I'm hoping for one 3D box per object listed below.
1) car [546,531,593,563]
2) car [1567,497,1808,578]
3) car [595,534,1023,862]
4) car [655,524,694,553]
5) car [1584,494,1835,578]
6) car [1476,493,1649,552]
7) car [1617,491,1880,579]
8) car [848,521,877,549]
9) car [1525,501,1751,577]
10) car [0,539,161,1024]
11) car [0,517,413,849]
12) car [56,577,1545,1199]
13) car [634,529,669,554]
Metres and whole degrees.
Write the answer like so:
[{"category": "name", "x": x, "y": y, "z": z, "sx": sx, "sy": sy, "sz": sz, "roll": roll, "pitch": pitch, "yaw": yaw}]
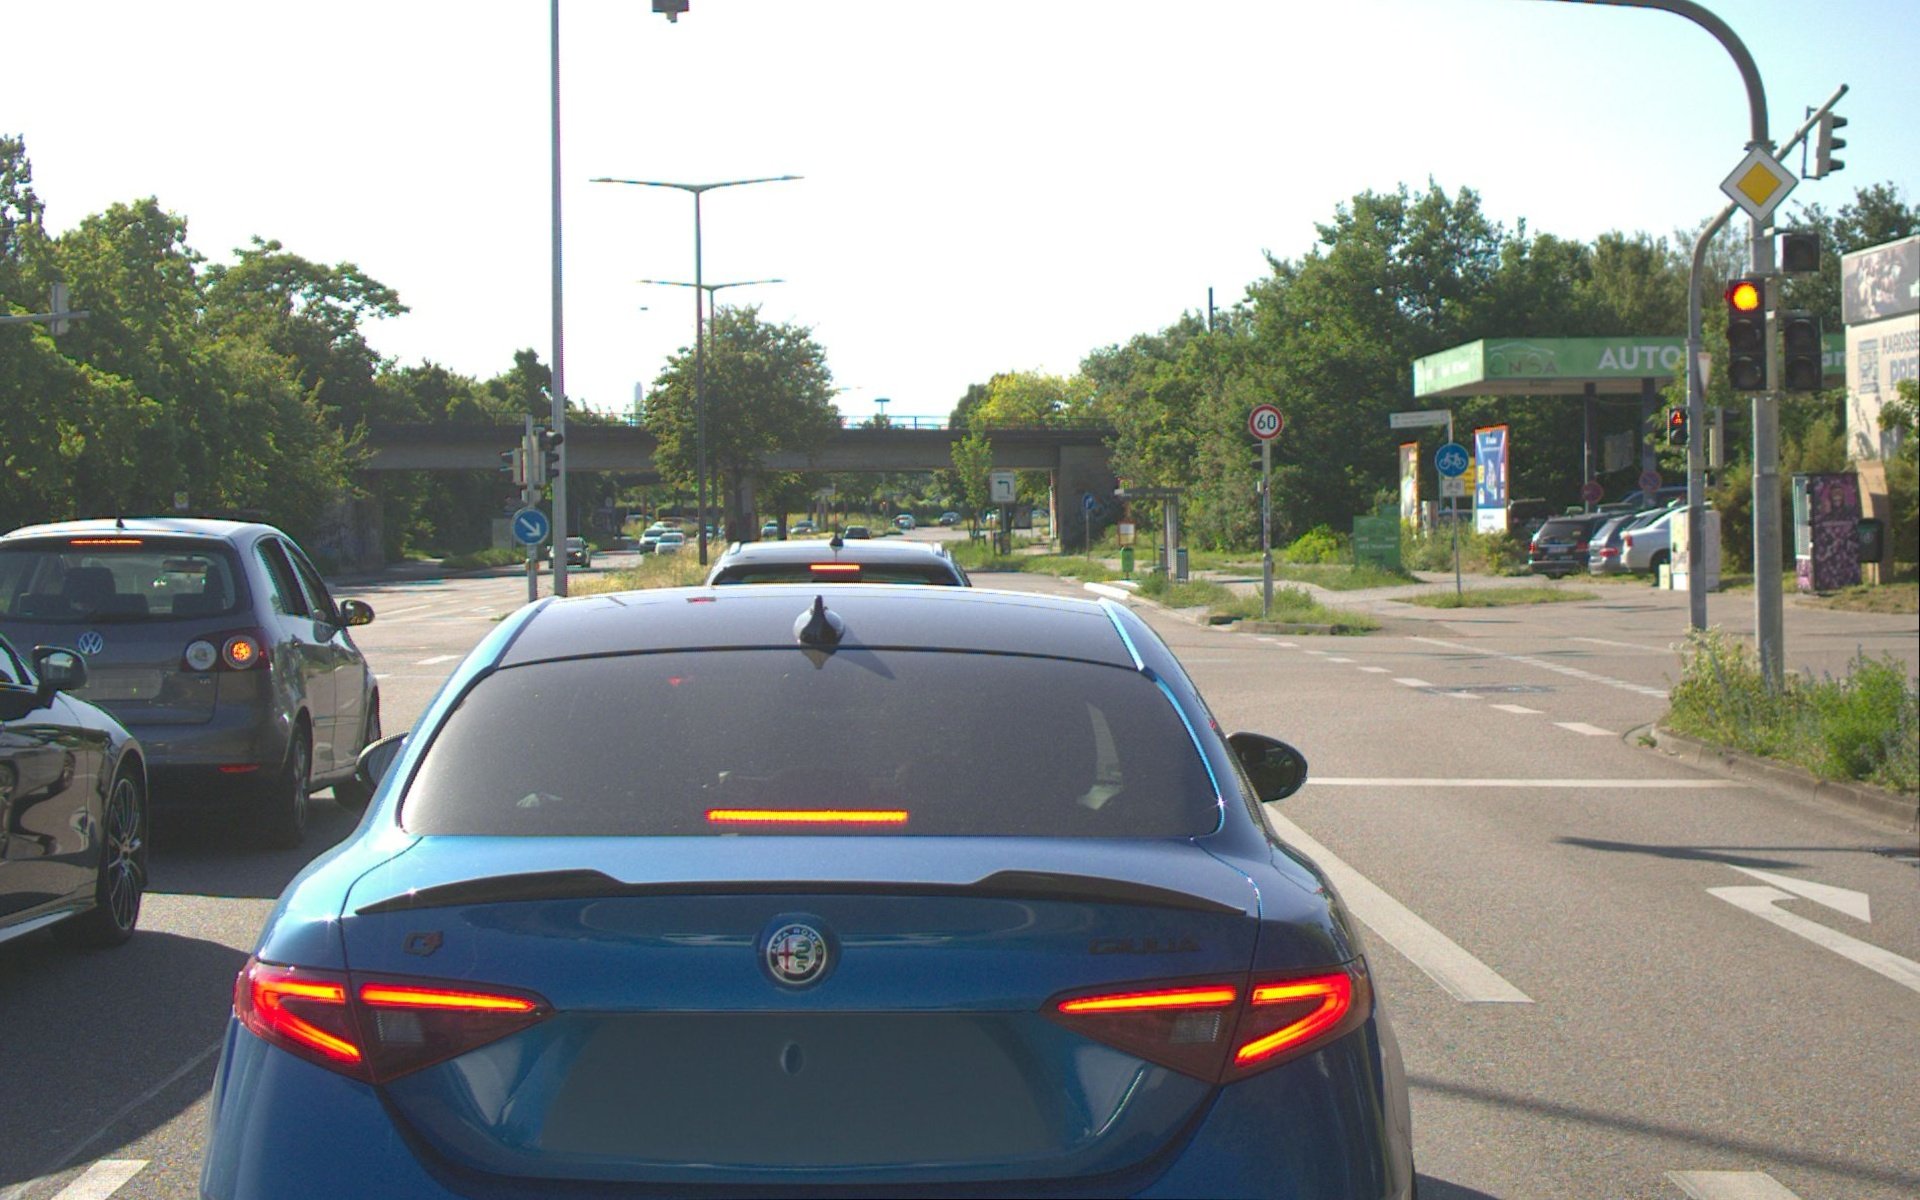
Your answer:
[{"category": "car", "x": -18.902, "y": -2.573, "z": 166.644, "sx": 1.759, "sy": 1.485, "sz": 4.478, "roll": -2, "pitch": 1, "yaw": 0}, {"category": "car", "x": 14.807, "y": -1.265, "z": 70.099, "sx": 4.489, "sy": 1.449, "sz": 1.858, "roll": -2, "pitch": 1, "yaw": 1}, {"category": "car", "x": -0.723, "y": 0.408, "z": 17.236, "sx": 1.850, "sy": 1.413, "sz": 4.403, "roll": 1, "pitch": 1, "yaw": -2}, {"category": "car", "x": -15.358, "y": -3.323, "z": 185.125, "sx": 1.759, "sy": 1.485, "sz": 3.837, "roll": -2, "pitch": 1, "yaw": 0}, {"category": "car", "x": 14.651, "y": -1.249, "z": 67.345, "sx": 4.489, "sy": 1.449, "sz": 1.858, "roll": -2, "pitch": 1, "yaw": 1}, {"category": "car", "x": 17.035, "y": -2.195, "z": 97.313, "sx": 4.551, "sy": 1.485, "sz": 1.765, "roll": -2, "pitch": 1, "yaw": 1}, {"category": "car", "x": 14.768, "y": -1.210, "z": 64.566, "sx": 4.489, "sy": 1.449, "sz": 1.858, "roll": -2, "pitch": 1, "yaw": 1}, {"category": "car", "x": -6.598, "y": -4.372, "z": 232.325, "sx": 1.891, "sy": 1.809, "sz": 4.000, "roll": 1, "pitch": 1, "yaw": -1}, {"category": "car", "x": 14.587, "y": -1.313, "z": 74.149, "sx": 4.489, "sy": 1.449, "sz": 1.858, "roll": -2, "pitch": 1, "yaw": 1}, {"category": "car", "x": -3.834, "y": 0.544, "z": 10.613, "sx": 1.796, "sy": 1.485, "sz": 4.476, "roll": 1, "pitch": 1, "yaw": -2}, {"category": "car", "x": -3.999, "y": 0.350, "z": 17.712, "sx": 1.759, "sy": 1.485, "sz": 4.403, "roll": 1, "pitch": 1, "yaw": -2}, {"category": "car", "x": -0.267, "y": 0.684, "z": 6.603, "sx": 1.895, "sy": 1.413, "sz": 4.403, "roll": 1, "pitch": 1, "yaw": -2}, {"category": "car", "x": -19.301, "y": -3.673, "z": 214.907, "sx": 1.759, "sy": 1.485, "sz": 4.478, "roll": -2, "pitch": 1, "yaw": 0}]
